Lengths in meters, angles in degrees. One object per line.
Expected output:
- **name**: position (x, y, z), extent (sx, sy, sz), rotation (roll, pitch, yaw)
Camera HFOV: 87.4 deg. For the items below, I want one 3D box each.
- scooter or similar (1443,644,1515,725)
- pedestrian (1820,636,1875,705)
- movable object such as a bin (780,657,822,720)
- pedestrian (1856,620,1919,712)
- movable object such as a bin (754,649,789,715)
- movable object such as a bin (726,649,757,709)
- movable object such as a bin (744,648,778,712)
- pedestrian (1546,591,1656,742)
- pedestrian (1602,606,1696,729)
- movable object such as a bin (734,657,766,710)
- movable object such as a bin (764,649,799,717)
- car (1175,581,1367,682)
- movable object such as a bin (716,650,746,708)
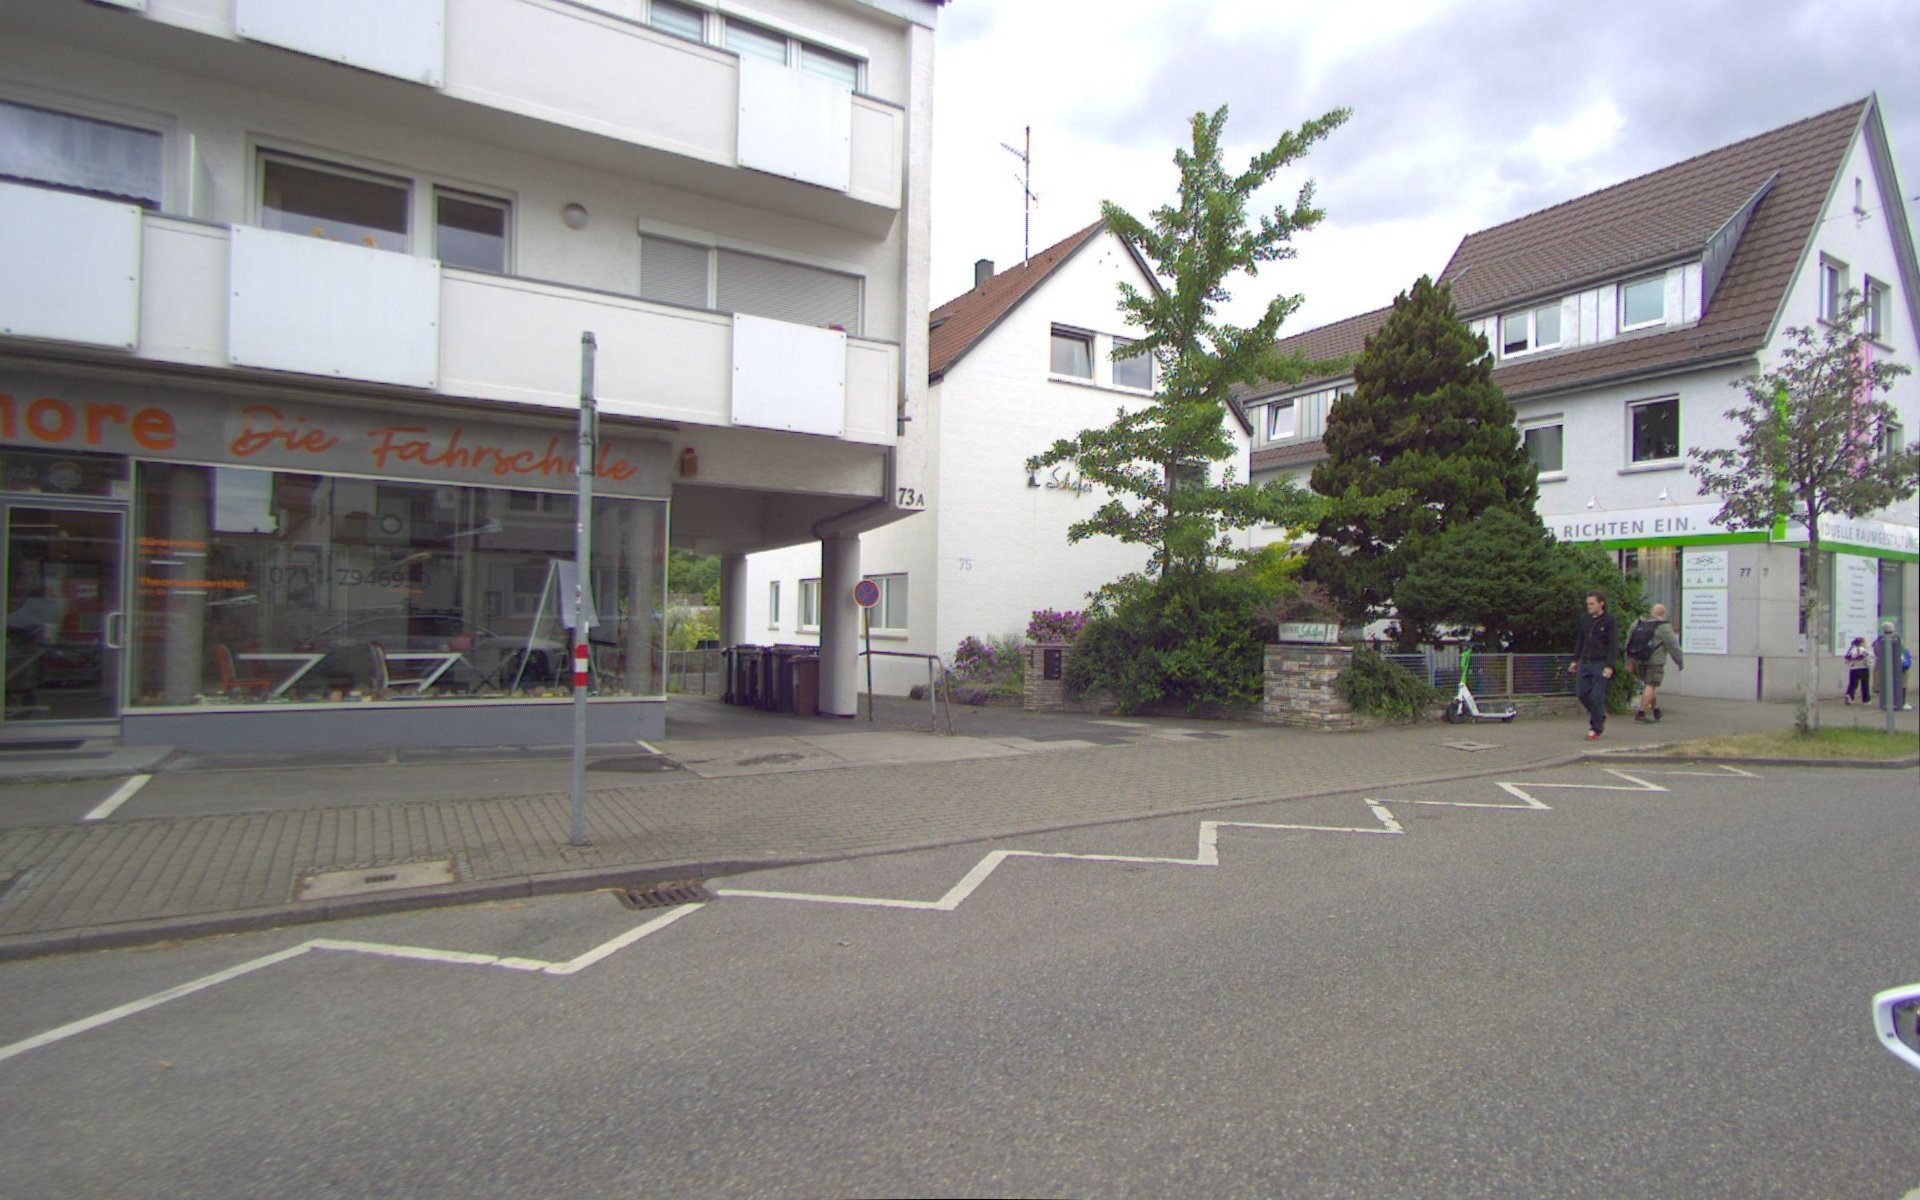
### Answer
- **scooter or similar**: position (7.527, 1.206, 14.560), extent (1.166, 1.126, 0.338), rotation (1, 0, -30)
- **pedestrian**: position (17.327, 1.357, 19.609), extent (0.647, 1.297, 0.596), rotation (1, 1, -29)
- **movable object such as a bin**: position (-2.477, 1.362, 15.599), extent (0.465, 0.945, 0.597), rotation (1, -3, -30)
- **pedestrian**: position (17.544, 1.226, 18.898), extent (0.783, 1.638, 0.748), rotation (1, 2, -29)
- **movable object such as a bin**: position (-3.129, 1.351, 16.665), extent (0.436, 1.071, 0.486), rotation (1, -3, -30)
- **movable object such as a bin**: position (-4.038, 1.450, 18.527), extent (0.436, 1.071, 0.486), rotation (1, -3, -30)
- **movable object such as a bin**: position (-3.395, 1.358, 17.120), extent (0.436, 1.071, 0.486), rotation (1, -3, -30)
- **pedestrian**: position (8.415, 0.846, 13.197), extent (1.007, 1.874, 0.748), rotation (1, 2, -30)
- **pedestrian**: position (10.433, 0.995, 15.214), extent (1.007, 1.767, 0.748), rotation (1, 1, -30)
- **movable object such as a bin**: position (-3.768, 1.493, 18.017), extent (0.436, 0.924, 0.486), rotation (1, -3, -30)
- **movable object such as a bin**: position (-2.883, 1.330, 16.206), extent (0.436, 1.071, 0.486), rotation (1, -3, -30)
- **car**: position (8.387, 0.877, 27.663), extent (1.974, 2.496, 5.282), rotation (1, -2, -26)
- **movable object such as a bin**: position (-4.351, 1.489, 19.107), extent (0.436, 1.071, 0.486), rotation (1, -3, -30)
